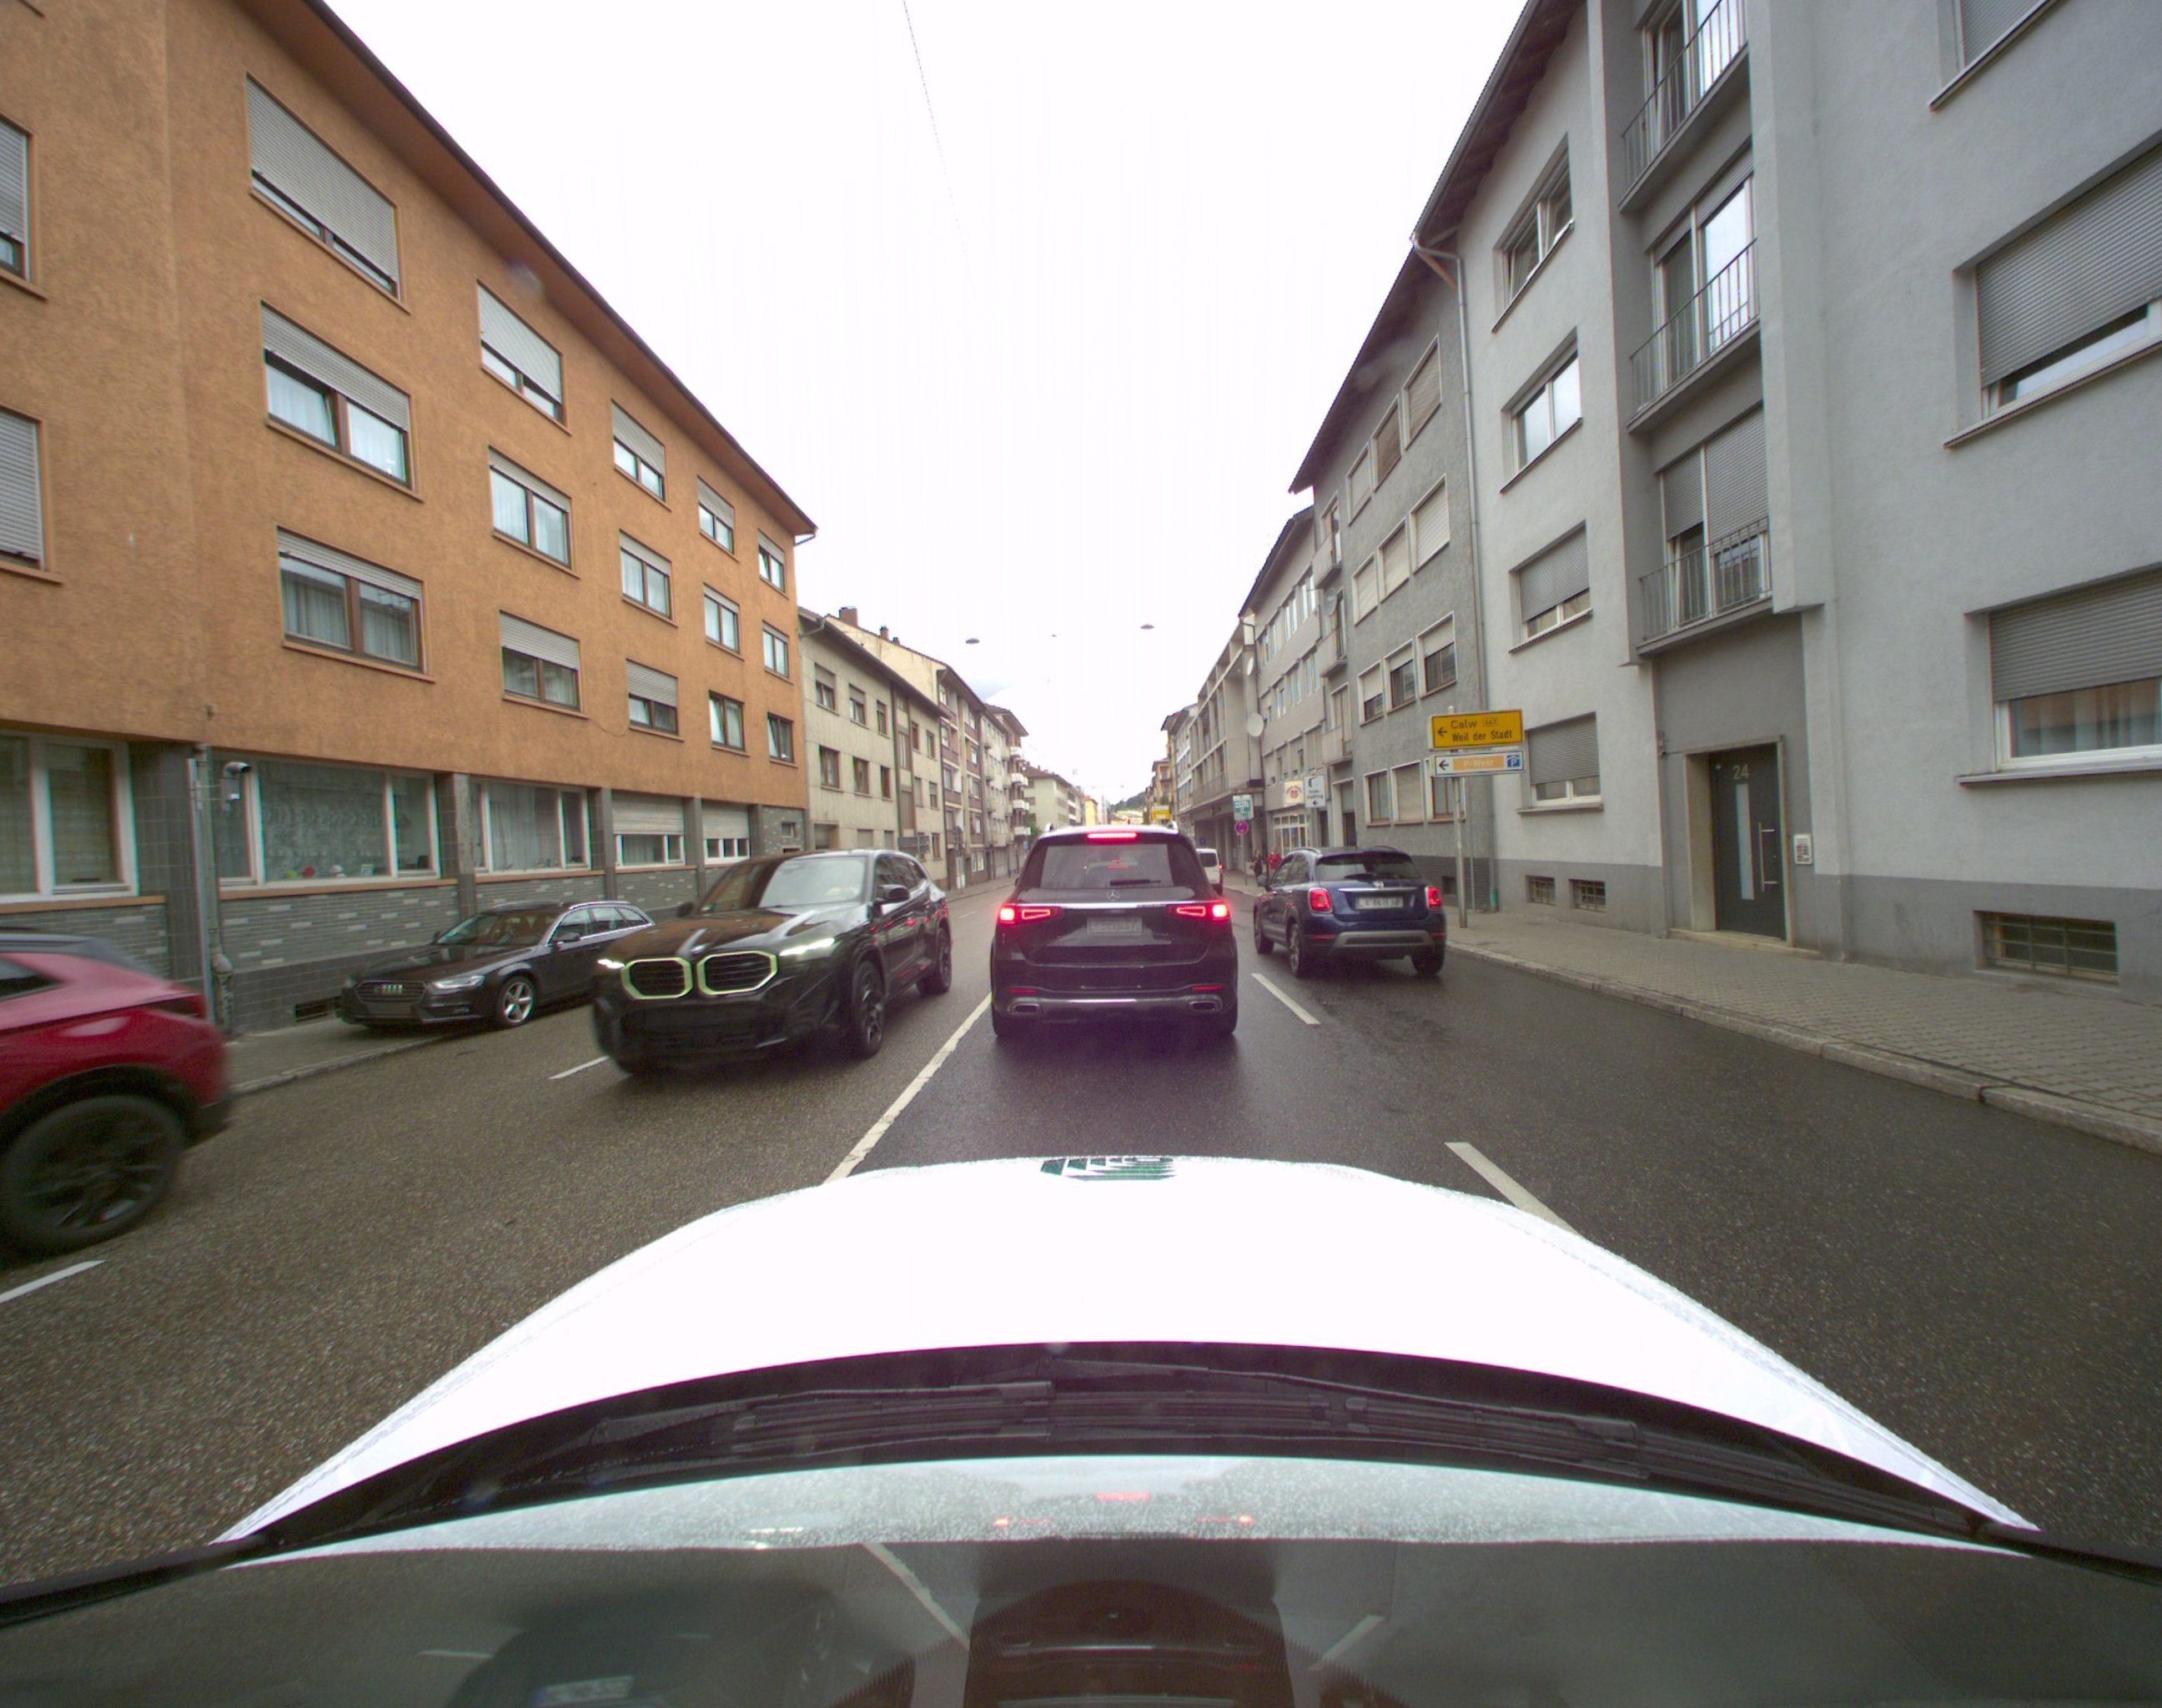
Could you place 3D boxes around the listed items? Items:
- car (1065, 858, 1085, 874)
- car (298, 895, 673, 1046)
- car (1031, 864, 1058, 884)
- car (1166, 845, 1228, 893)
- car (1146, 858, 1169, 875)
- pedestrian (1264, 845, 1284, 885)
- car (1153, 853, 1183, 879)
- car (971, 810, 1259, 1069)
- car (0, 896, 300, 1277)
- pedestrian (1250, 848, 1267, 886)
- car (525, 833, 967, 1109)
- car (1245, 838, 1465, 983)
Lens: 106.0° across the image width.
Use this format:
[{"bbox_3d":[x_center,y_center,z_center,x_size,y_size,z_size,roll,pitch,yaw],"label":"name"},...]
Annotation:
[{"bbox_3d":[-0.601,1.198,80.746,1.718,1.390,4.341,-4,0,2],"label":"car"},{"bbox_3d":[-7.740,1.405,11.296,1.789,1.438,4.528,0,0,1],"label":"car"},{"bbox_3d":[-2.876,1.578,65.111,1.761,1.346,3.888,-6,0,0],"label":"car"},{"bbox_3d":[4.639,0.581,33.101,1.933,1.775,4.747,-1,0,1],"label":"car"},{"bbox_3d":[6.425,1.025,68.324,1.615,1.430,4.313,0,0,1],"label":"car"},{"bbox_3d":[7.939,0.440,33.468,0.558,1.578,0.526,-5,0,3],"label":"pedestrian"},{"bbox_3d":[5.714,0.788,53.782,1.800,1.606,4.216,-1,0,4],"label":"car"},{"bbox_3d":[0.284,0.605,7.729,2.018,1.806,4.001,0,0,1],"label":"car"},{"bbox_3d":[-5.695,1.119,2.687,1.789,1.584,4.321,-5,0,4],"label":"car"},{"bbox_3d":[7.295,0.531,33.480,0.504,1.500,0.563,-5,0,6],"label":"pedestrian"},{"bbox_3d":[-2.640,0.807,7.997,2.119,1.721,4.819,-5,0,1],"label":"car"},{"bbox_3d":[3.493,0.645,11.199,1.760,1.580,4.002,-2,0,2],"label":"car"}]
